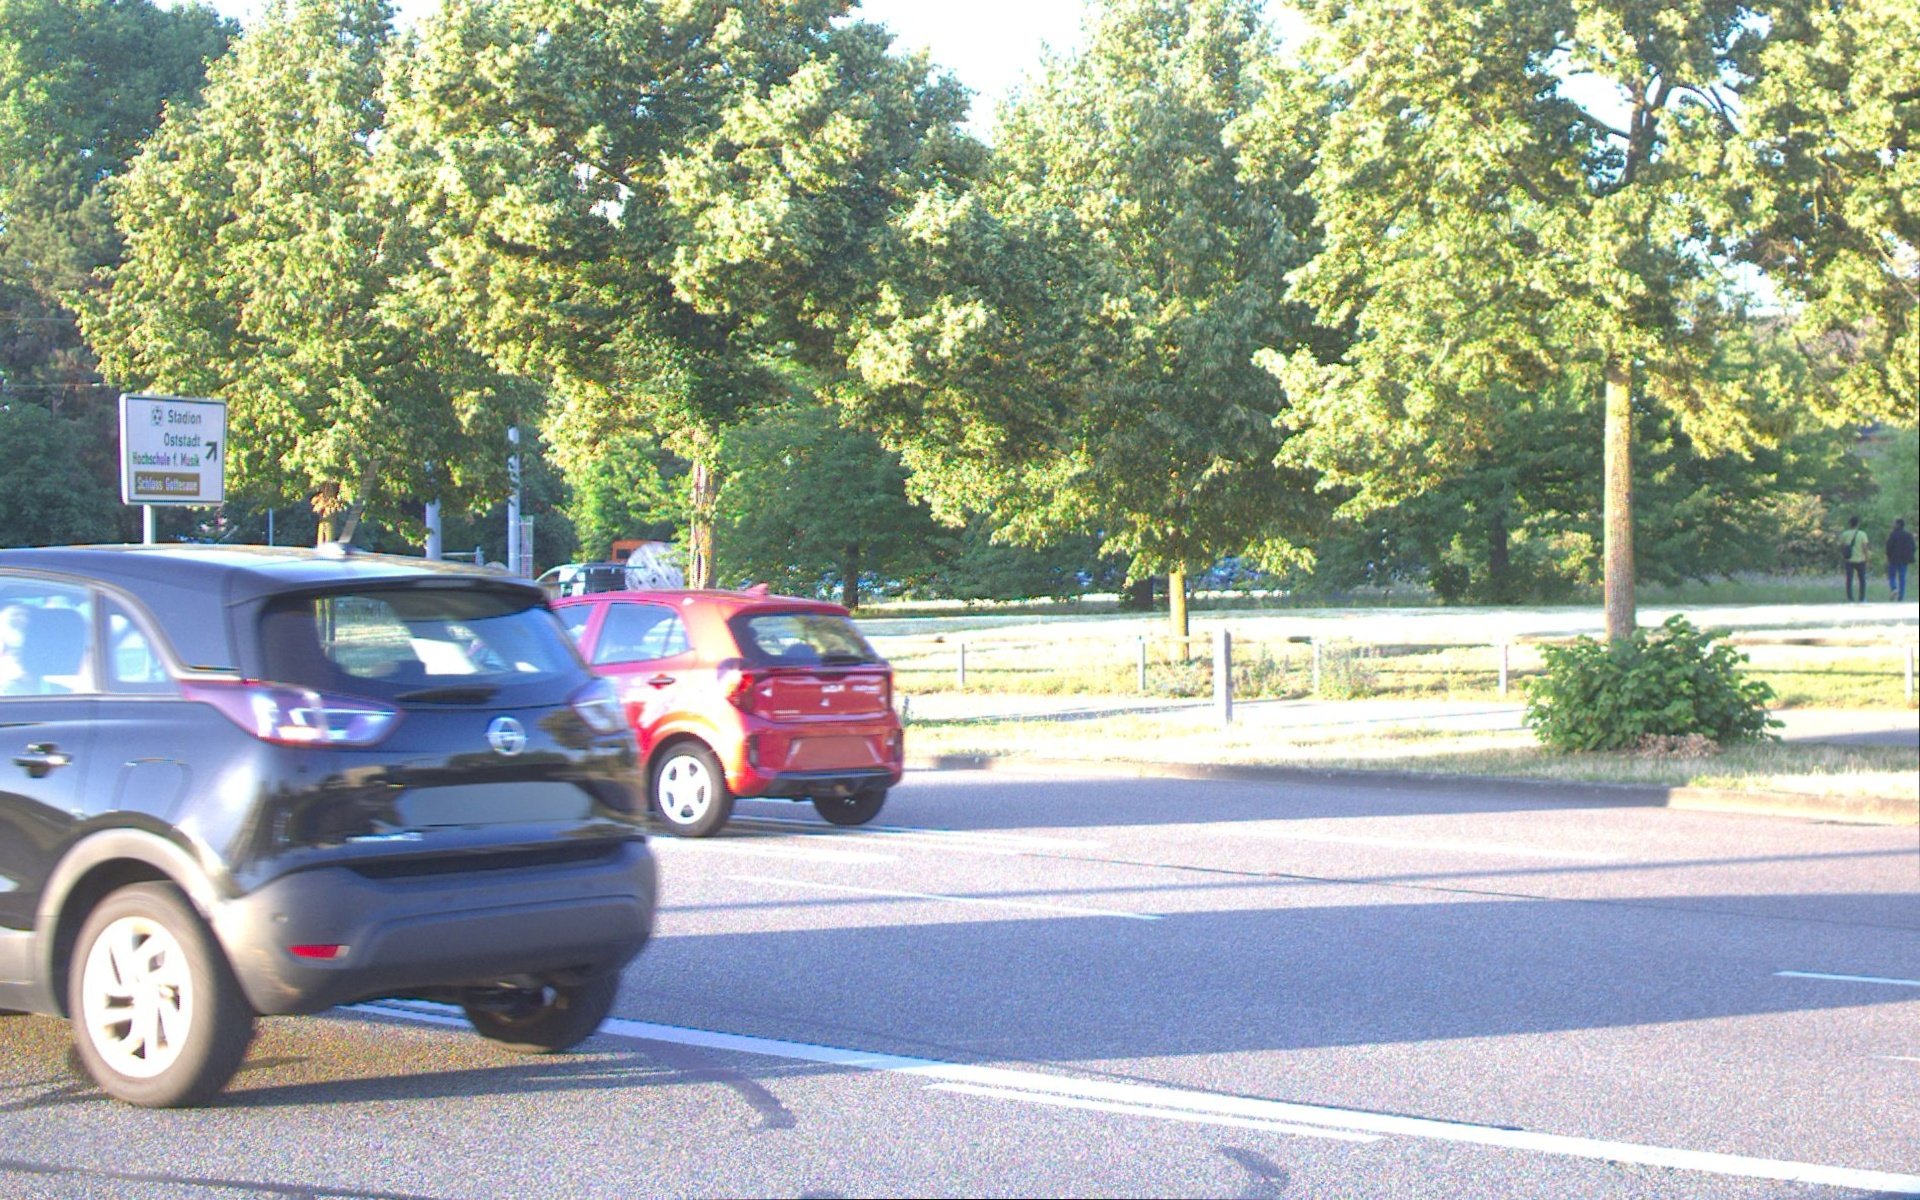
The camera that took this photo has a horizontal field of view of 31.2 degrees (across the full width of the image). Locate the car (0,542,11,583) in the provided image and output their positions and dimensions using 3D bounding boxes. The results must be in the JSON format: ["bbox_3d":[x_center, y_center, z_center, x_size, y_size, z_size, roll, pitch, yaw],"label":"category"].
[{"bbox_3d":[-42.437,-1.583,145.362,3.988,1.700,2.000,0,1,7],"label":"car"}]

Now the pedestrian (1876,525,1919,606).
[{"bbox_3d":[18.957,-0.696,68.734,1.069,1.612,0.910,0,1,2],"label":"pedestrian"}]

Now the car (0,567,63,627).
[{"bbox_3d":[-33.169,-0.098,117.673,4.582,2.007,2.001,-1,1,-9],"label":"car"}]

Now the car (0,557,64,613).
[{"bbox_3d":[-35.255,-0.556,125.806,4.582,2.007,2.001,-1,1,-9],"label":"car"}]

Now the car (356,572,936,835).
[{"bbox_3d":[-2.014,0.587,21.608,3.487,1.494,1.639,1,1,40],"label":"car"}]

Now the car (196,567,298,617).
[{"bbox_3d":[-26.842,-0.326,129.303,1.994,1.746,4.597,-1,2,-37],"label":"car"}]

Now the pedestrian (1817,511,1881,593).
[{"bbox_3d":[17.786,-0.964,68.818,1.069,1.612,0.910,0,1,2],"label":"pedestrian"}]

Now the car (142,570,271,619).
[{"bbox_3d":[-25.392,-0.210,115.824,3.994,1.598,1.996,0,1,33],"label":"car"}]

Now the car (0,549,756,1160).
[{"bbox_3d":[-2.779,0.638,10.903,3.996,1.579,1.891,0,1,38],"label":"car"}]

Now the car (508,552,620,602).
[{"bbox_3d":[-13.250,-0.780,114.884,1.734,1.612,3.998,-1,1,-41],"label":"car"}]

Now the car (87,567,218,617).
[{"bbox_3d":[-26.796,-0.266,114.094,3.994,1.598,1.996,0,1,33],"label":"car"}]
